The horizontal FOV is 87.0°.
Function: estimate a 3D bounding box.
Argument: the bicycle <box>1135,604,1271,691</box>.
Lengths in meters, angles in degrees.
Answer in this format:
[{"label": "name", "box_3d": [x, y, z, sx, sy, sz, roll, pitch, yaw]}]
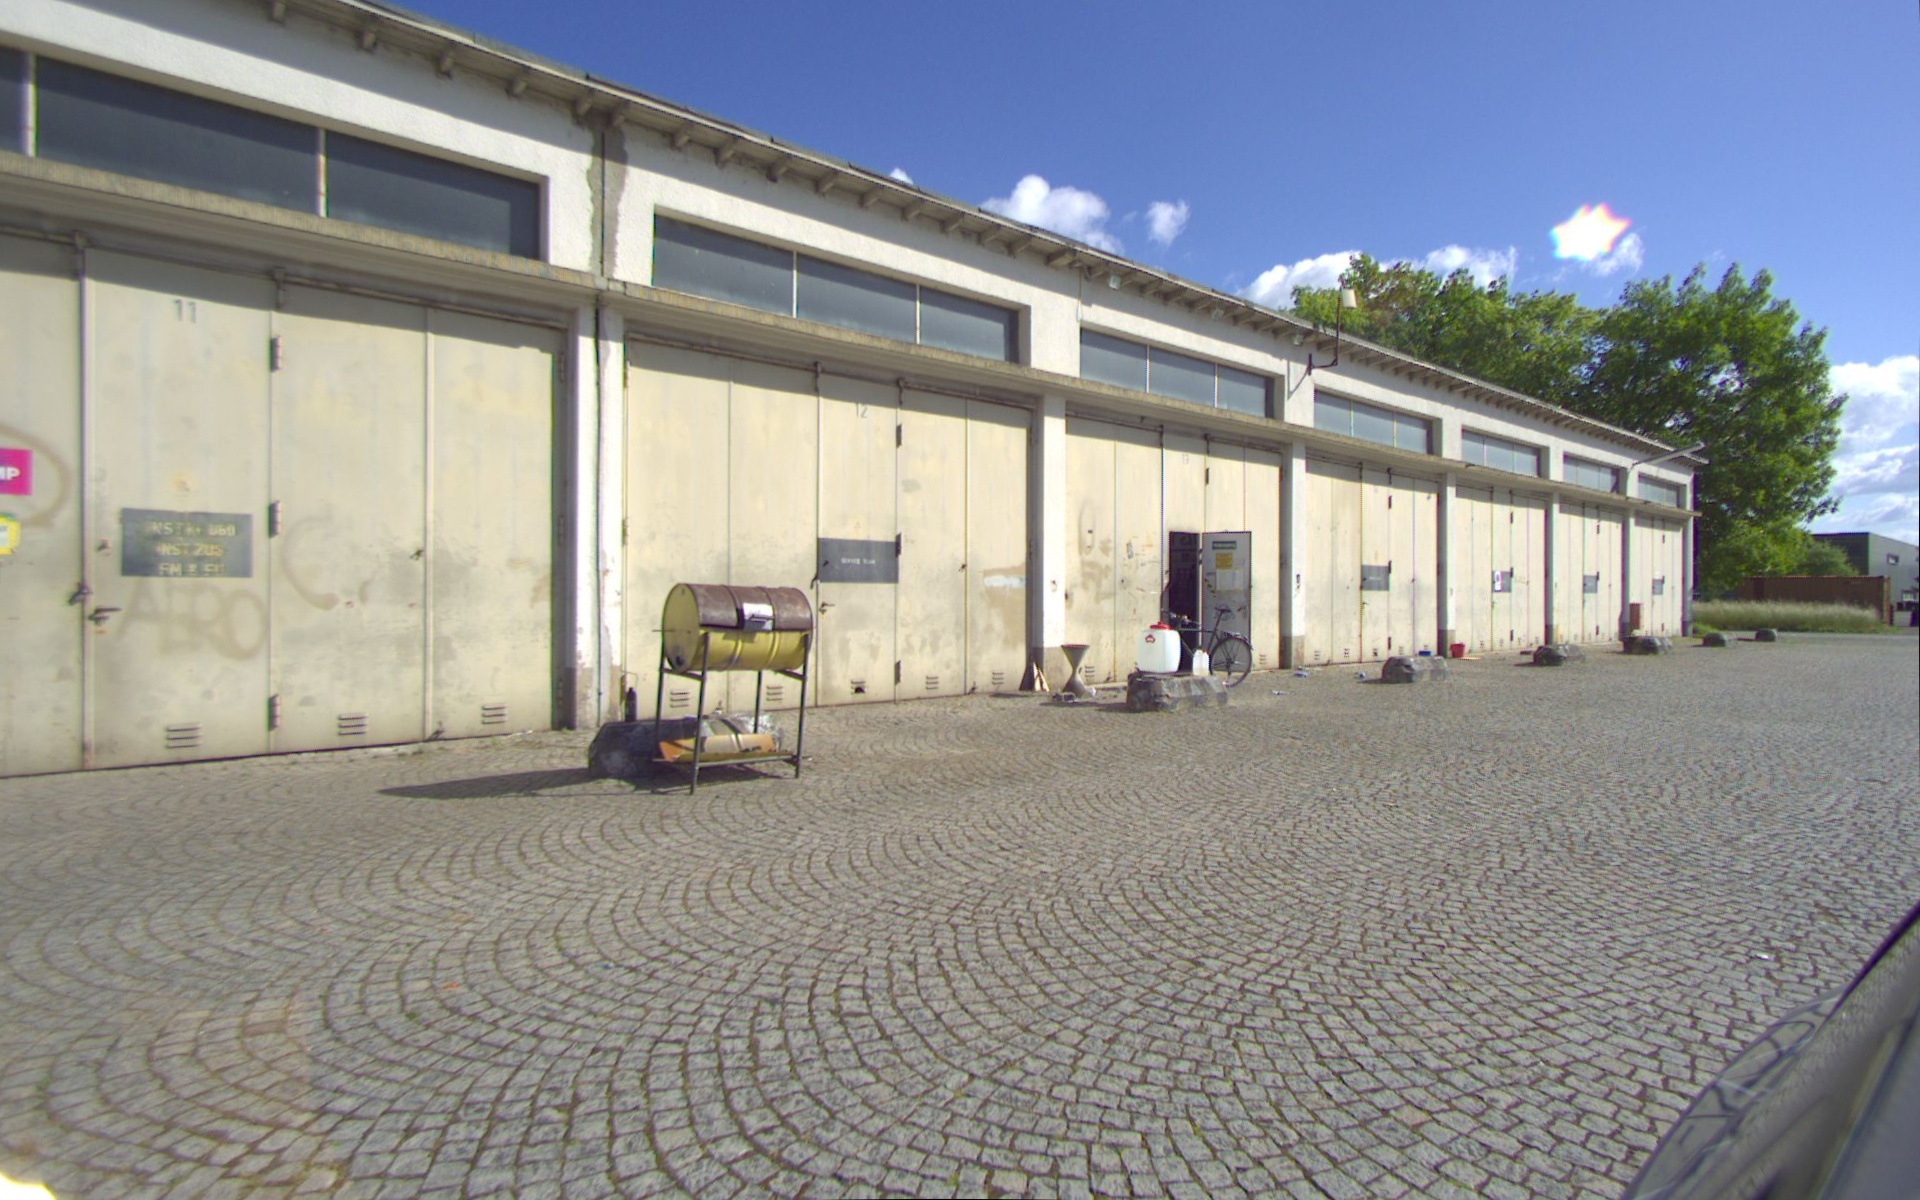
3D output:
[{"label": "bicycle", "box_3d": [3.276, 0.603, 13.618, 1.787, 1.081, 0.667, -1, 0, -29]}]
